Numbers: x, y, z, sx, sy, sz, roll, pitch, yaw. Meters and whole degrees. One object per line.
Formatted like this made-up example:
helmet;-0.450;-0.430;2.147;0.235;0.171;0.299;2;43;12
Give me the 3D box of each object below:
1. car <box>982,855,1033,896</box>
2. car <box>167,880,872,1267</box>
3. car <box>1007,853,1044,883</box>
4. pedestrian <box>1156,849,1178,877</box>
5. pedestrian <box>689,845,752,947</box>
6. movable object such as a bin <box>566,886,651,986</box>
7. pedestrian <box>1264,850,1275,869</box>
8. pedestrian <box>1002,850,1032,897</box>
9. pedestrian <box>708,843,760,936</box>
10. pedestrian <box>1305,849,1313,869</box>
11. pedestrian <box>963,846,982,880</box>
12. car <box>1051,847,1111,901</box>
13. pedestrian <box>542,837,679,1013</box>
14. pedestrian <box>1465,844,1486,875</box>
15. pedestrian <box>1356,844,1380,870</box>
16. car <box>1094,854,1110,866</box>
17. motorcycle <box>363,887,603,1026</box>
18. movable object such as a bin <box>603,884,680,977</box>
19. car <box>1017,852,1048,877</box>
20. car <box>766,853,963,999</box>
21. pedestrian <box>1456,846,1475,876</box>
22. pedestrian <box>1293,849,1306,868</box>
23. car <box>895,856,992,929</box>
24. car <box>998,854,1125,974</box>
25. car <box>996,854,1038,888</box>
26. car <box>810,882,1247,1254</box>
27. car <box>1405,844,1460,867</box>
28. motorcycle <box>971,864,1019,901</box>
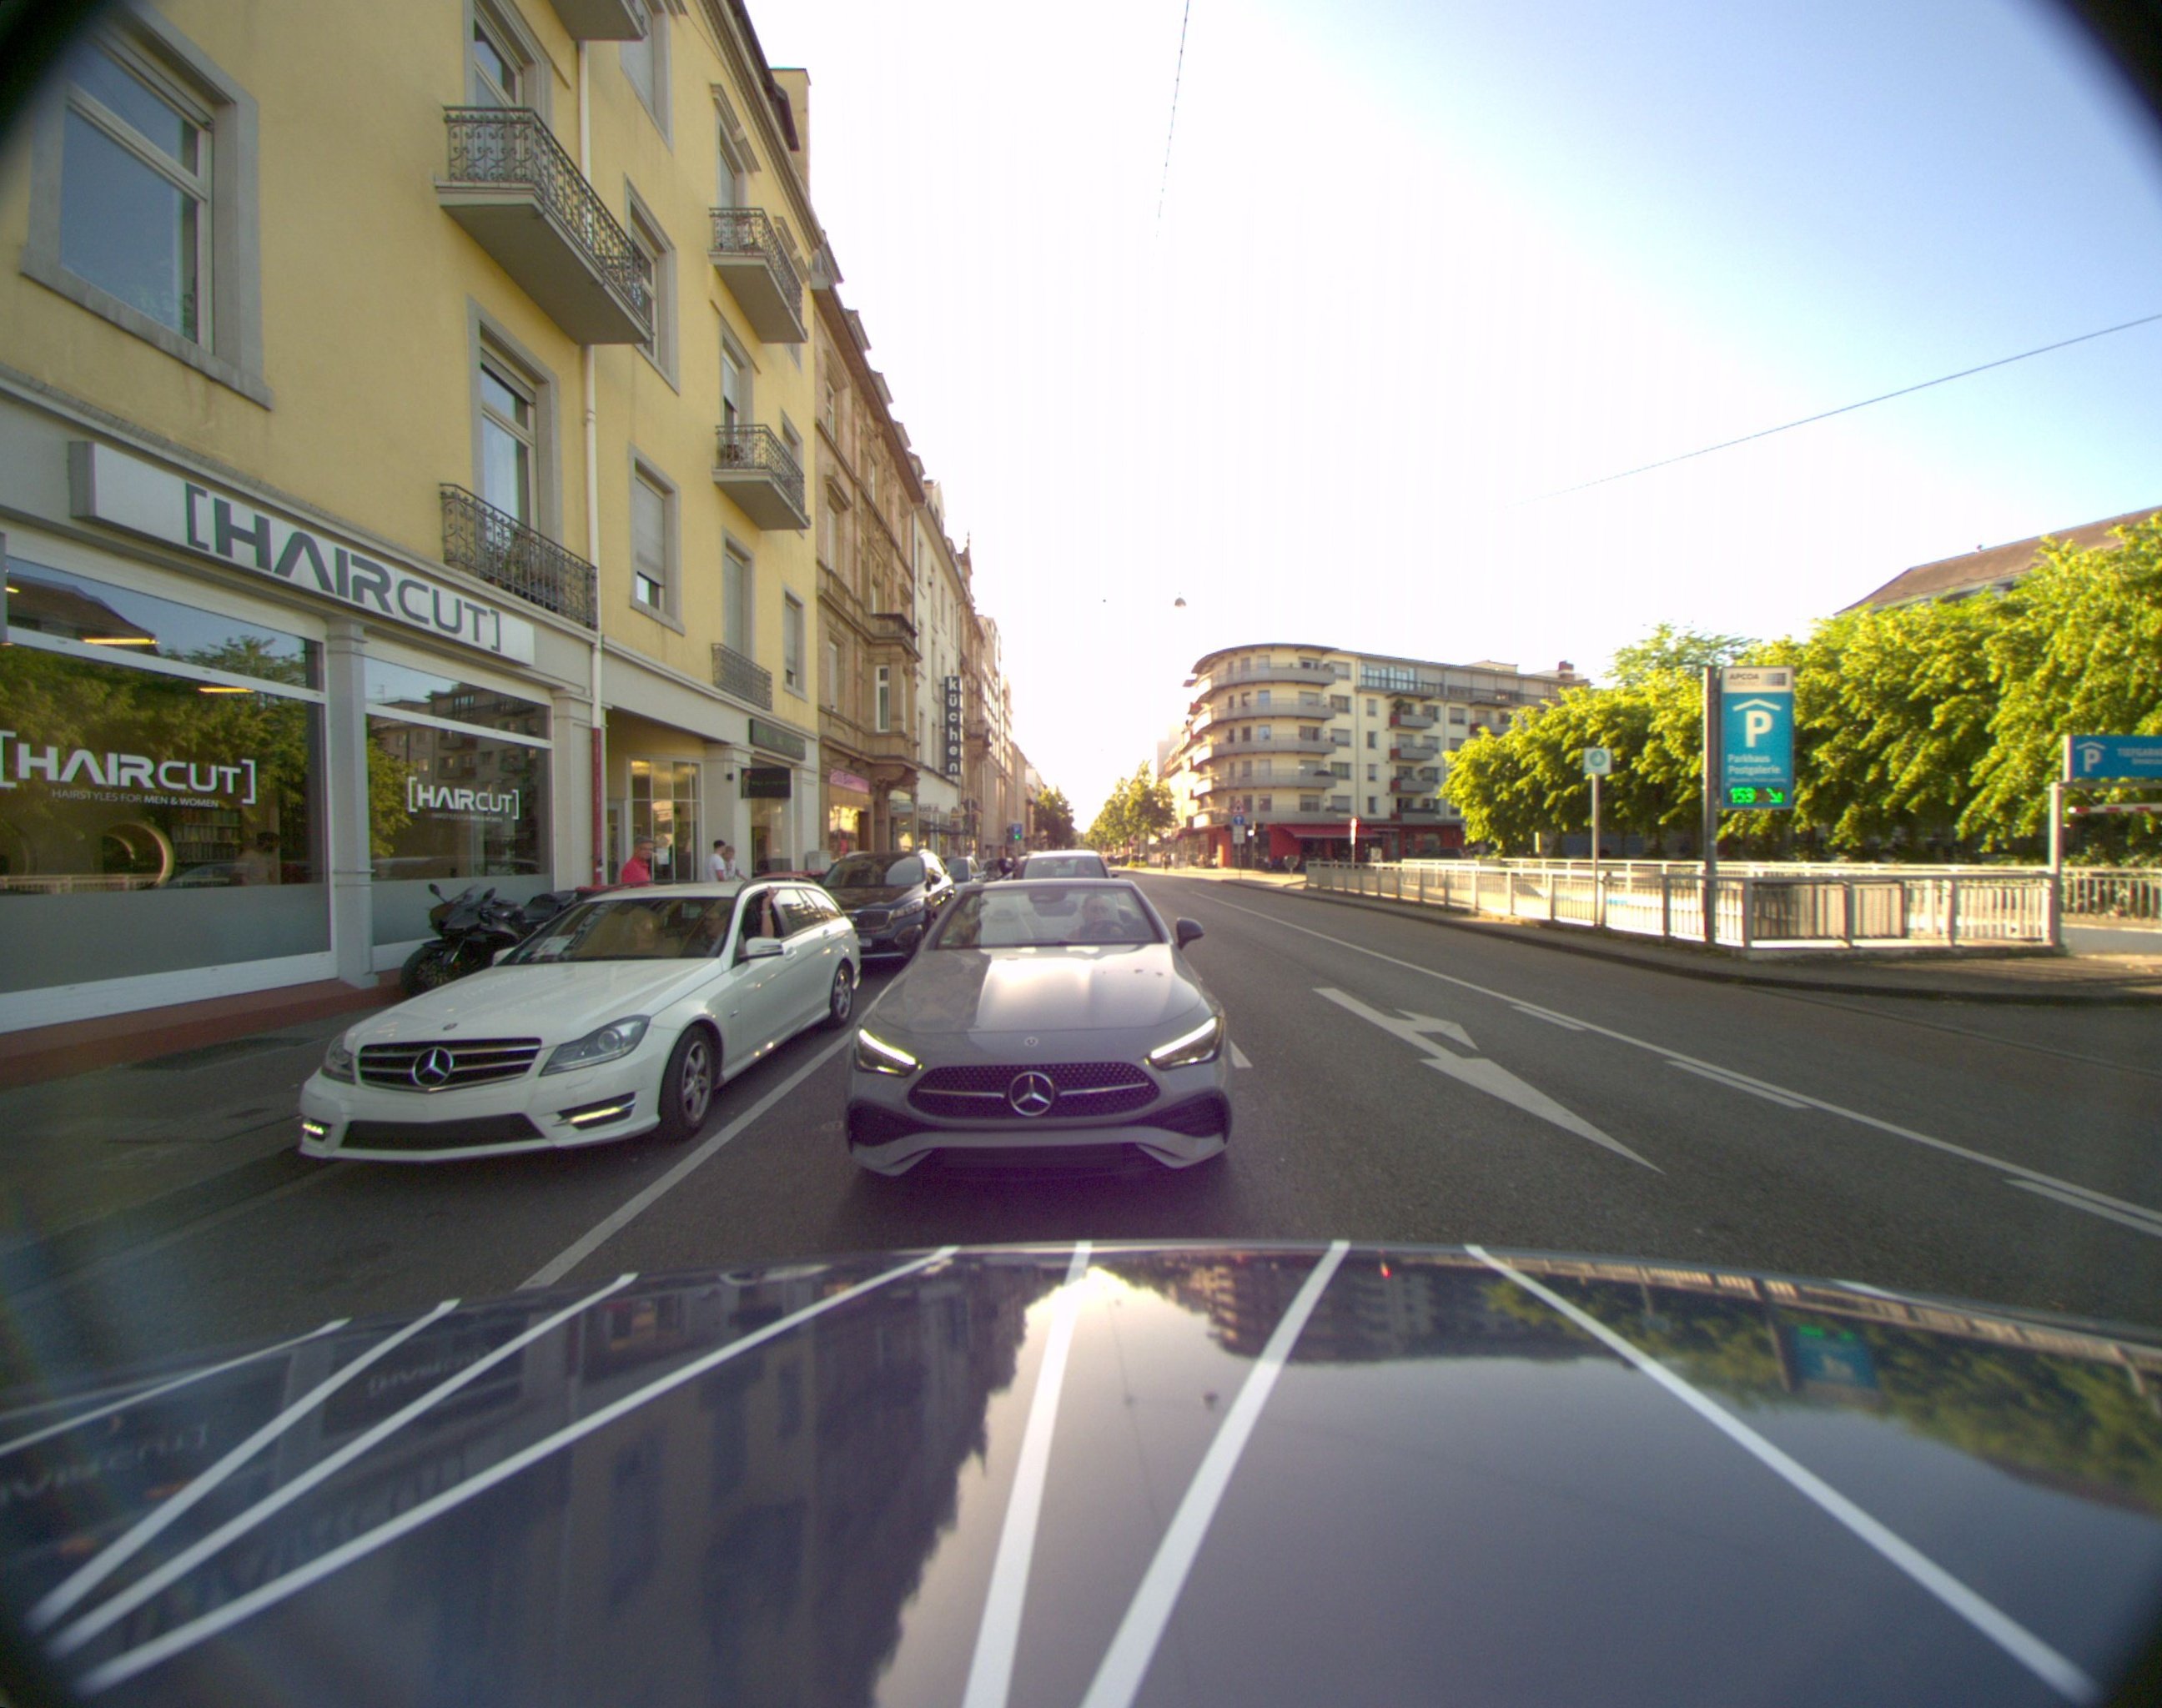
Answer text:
car;-2.933;0.822;31.064;1.715;1.477;3.999;-1;0;0
car;-3.053;1.029;5.592;1.759;1.453;4.597;-1;0;0
car;-2.970;0.711;41.334;1.715;1.477;3.999;-1;0;0
pedestrian;6.310;0.681;55.735;1.202;2.002;1.018;-3;2;-41
pedestrian;-5.873;0.668;12.401;0.642;1.607;0.701;-1;1;-1
movable object such as a bin;-6.094;1.043;9.824;0.647;1.200;0.644;-1;1;1
pedestrian;15.063;0.426;60.607;0.791;1.452;0.583;-1;1;10
pedestrian;-2.297;0.697;27.283;0.835;1.657;0.692;-2;1;-23
pedestrian;-6.172;0.623;13.530;0.572;1.607;0.643;-1;1;2
pedestrian;17.960;0.388;59.836;0.581;1.481;0.793;-1;1;13
pedestrian;-5.258;0.436;36.829;0.795;1.607;0.763;-1;1;-1
car;0.018;0.647;27.355;1.952;1.742;4.000;-1;0;1
pedestrian;-5.063;0.717;8.248;0.866;1.774;1.008;2;1;-4
pedestrian;23.338;0.311;44.933;0.755;1.795;0.756;-2;1;-15
pedestrian;22.639;0.234;59.940;1.234;2.002;1.259;-2;1;-21
car;2.547;0.691;92.161;1.802;1.426;4.250;-1;0;0
motorcycle;-6.247;1.004;8.162;0.773;1.158;2.247;1;1;1
movable object such as a bin;-6.045;1.033;10.476;0.647;1.200;0.644;-1;1;1
car;-3.013;0.632;47.929;1.715;1.477;4.062;-1;0;0
car;-2.975;0.863;11.520;1.858;1.688;4.697;-1;0;-4
pedestrian;22.592;0.400;44.671;0.674;1.696;0.699;-2;1;-7
pedestrian;17.700;0.364;61.490;0.583;1.453;0.790;-2;1;-37
car;-3.241;0.861;18.410;1.696;1.559;3.018;-1;0;1
car;-0.237;0.826;12.513;1.716;1.599;4.000;-1;0;1
car;-3.038;0.765;36.816;1.715;1.477;3.999;-1;0;0
car;-0.242;1.004;5.422;1.849;1.371;4.255;-2;0;-1
car;29.044;0.096;62.788;4.004;1.740;1.996;-2;1;-23
motorcycle;-3.044;1.010;27.124;0.769;1.225;1.546;-1;1;42
